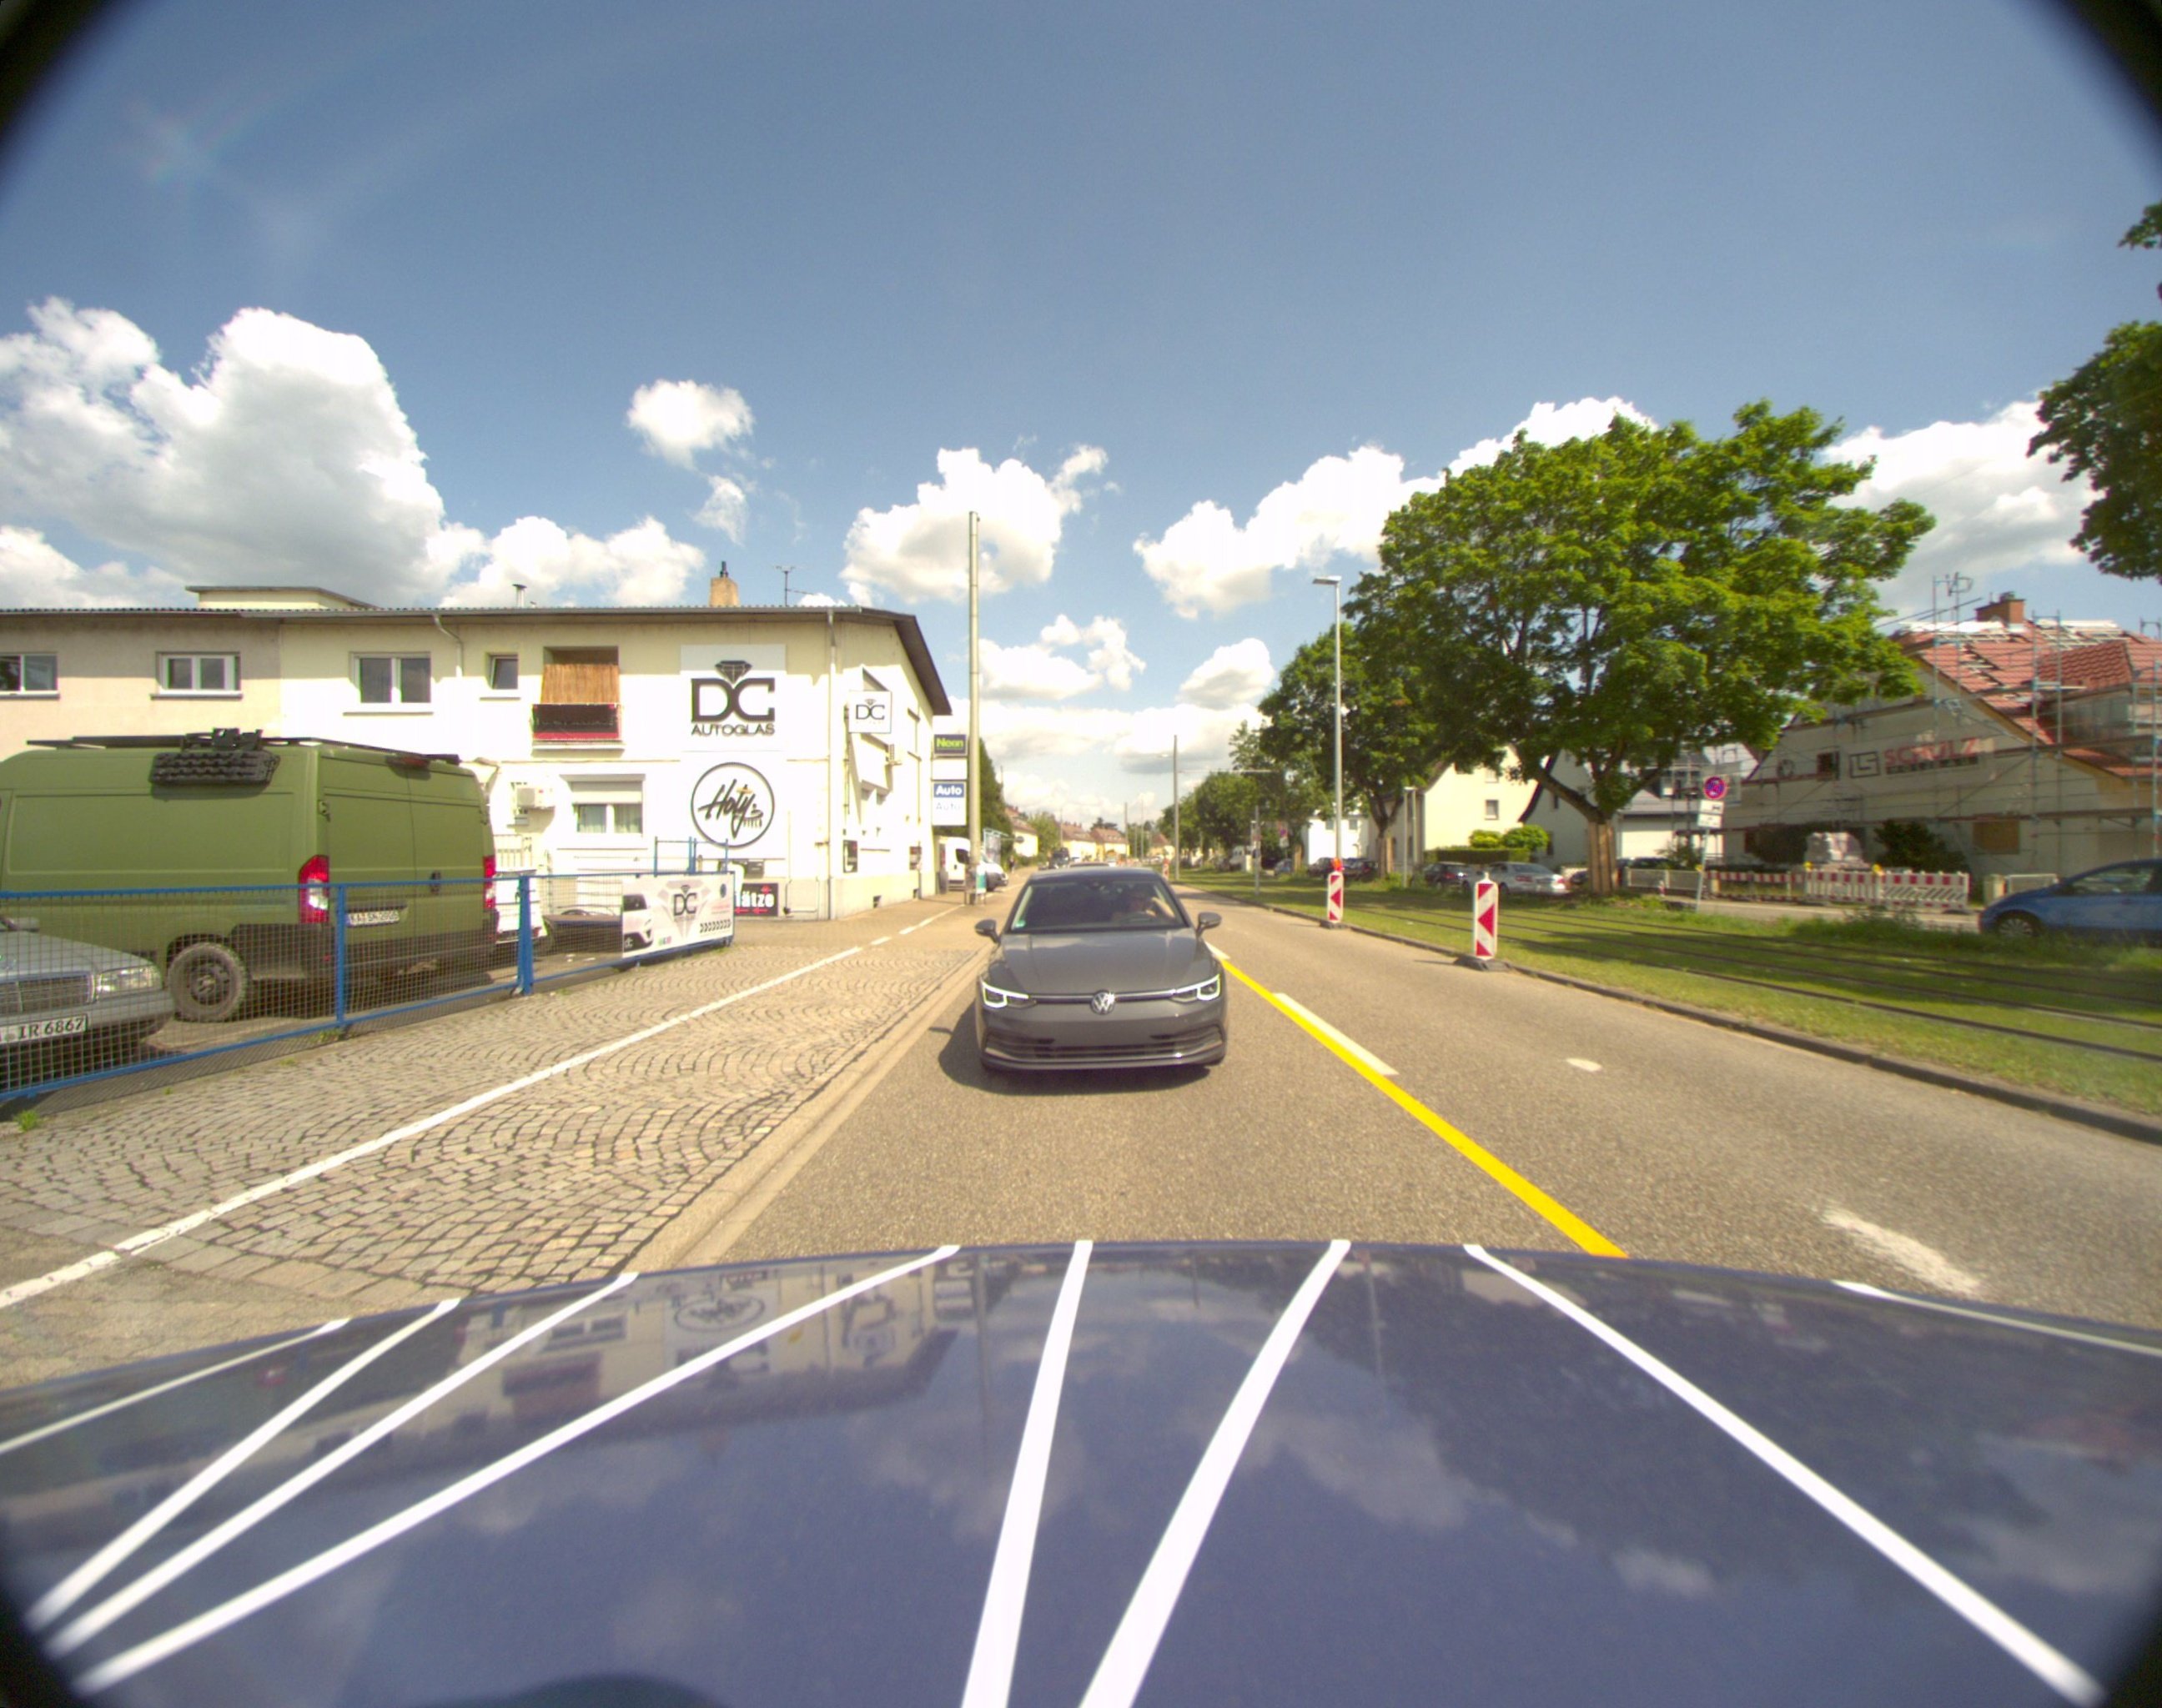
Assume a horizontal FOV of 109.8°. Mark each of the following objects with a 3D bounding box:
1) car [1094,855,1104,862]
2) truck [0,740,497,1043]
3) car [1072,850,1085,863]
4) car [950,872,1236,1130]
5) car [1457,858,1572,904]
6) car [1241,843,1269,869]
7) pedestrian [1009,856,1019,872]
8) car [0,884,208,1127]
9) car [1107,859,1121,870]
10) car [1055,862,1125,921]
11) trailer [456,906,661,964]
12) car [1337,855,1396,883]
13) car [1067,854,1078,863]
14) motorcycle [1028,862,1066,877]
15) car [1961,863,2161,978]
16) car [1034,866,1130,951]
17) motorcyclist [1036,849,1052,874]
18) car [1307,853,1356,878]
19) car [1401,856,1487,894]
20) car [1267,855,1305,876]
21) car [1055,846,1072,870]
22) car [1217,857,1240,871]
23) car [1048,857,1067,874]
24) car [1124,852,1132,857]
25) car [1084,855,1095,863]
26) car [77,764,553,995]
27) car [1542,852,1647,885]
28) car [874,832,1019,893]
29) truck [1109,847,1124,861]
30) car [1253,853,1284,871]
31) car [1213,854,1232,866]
[{"bbox_3d":[4.111,0.989,172.739,1.718,1.470,4.011,0,0,8],"label":"car"},{"bbox_3d":[-8.623,0.329,7.570,3.997,2.592,2.069,0,0,1],"label":"truck"},{"bbox_3d":[-0.424,0.395,136.326,1.719,2.360,5.211,0,0,5],"label":"car"},{"bbox_3d":[0.100,0.938,6.591,1.719,1.470,4.009,0,0,1],"label":"car"},{"bbox_3d":[16.389,0.964,29.009,1.755,1.602,4.606,0,0,0],"label":"car"},{"bbox_3d":[17.648,0.194,77.070,1.755,2.601,4.606,0,0,0],"label":"car"},{"bbox_3d":[-6.556,0.954,74.448,0.816,1.577,0.918,0,0,1],"label":"pedestrian"},{"bbox_3d":[-8.437,0.918,4.813,4.206,1.388,1.804,0,0,8],"label":"car"},{"bbox_3d":[4.412,1.380,100.603,1.719,1.405,4.262,0,0,1],"label":"car"},{"bbox_3d":[0.261,0.988,21.495,1.787,1.470,4.009,0,0,1],"label":"car"},{"bbox_3d":[-8.062,1.238,11.840,2.329,0.762,1.269,0,0,2],"label":"trailer"},{"bbox_3d":[16.902,0.849,45.270,1.755,1.602,4.606,0,0,0],"label":"car"},{"bbox_3d":[-1.361,0.734,122.962,1.720,1.470,4.009,0,0,0],"label":"car"},{"bbox_3d":[-2.697,1.208,60.371,2.896,1.164,0.887,0,0,15],"label":"motorcycle"},{"bbox_3d":[16.237,0.958,11.235,1.755,1.602,4.050,0,0,0],"label":"car"},{"bbox_3d":[0.038,1.006,15.646,1.719,1.470,4.009,0,0,1],"label":"car"},{"bbox_3d":[-2.950,0.594,60.431,1.111,1.900,0.880,0,0,14],"label":"motorcyclist"},{"bbox_3d":[16.680,0.762,50.910,1.755,1.602,4.606,0,0,0],"label":"car"},{"bbox_3d":[16.591,0.916,35.032,1.755,1.602,4.606,0,0,0],"label":"car"},{"bbox_3d":[16.497,0.915,61.359,1.755,1.602,4.606,0,0,0],"label":"car"},{"bbox_3d":[-1.915,0.408,82.852,1.720,2.526,5.794,0,0,0],"label":"car"},{"bbox_3d":[16.935,1.149,87.273,1.755,1.602,4.606,0,0,0],"label":"car"},{"bbox_3d":[-2.158,1.064,70.990,1.720,1.470,4.009,0,0,0],"label":"car"},{"bbox_3d":[13.539,0.228,218.480,1.718,1.470,4.013,0,0,13],"label":"car"},{"bbox_3d":[1.820,0.983,155.305,1.718,1.470,4.011,0,0,8],"label":"car"},{"bbox_3d":[-9.455,0.302,9.655,4.209,2.653,1.803,0,0,0],"label":"car"},{"bbox_3d":[25.513,0.720,37.835,4.047,1.602,1.757,0,0,1],"label":"car"},{"bbox_3d":[-5.931,0.380,33.983,5.982,2.362,2.000,3,0,3],"label":"car"},{"bbox_3d":[9.413,0.015,201.138,2.590,3.431,8.585,0,0,11],"label":"truck"},{"bbox_3d":[17.587,0.753,71.498,1.755,1.602,4.606,0,0,0],"label":"car"},{"bbox_3d":[19.962,0.815,107.175,1.755,1.602,4.606,0,0,0],"label":"car"}]
